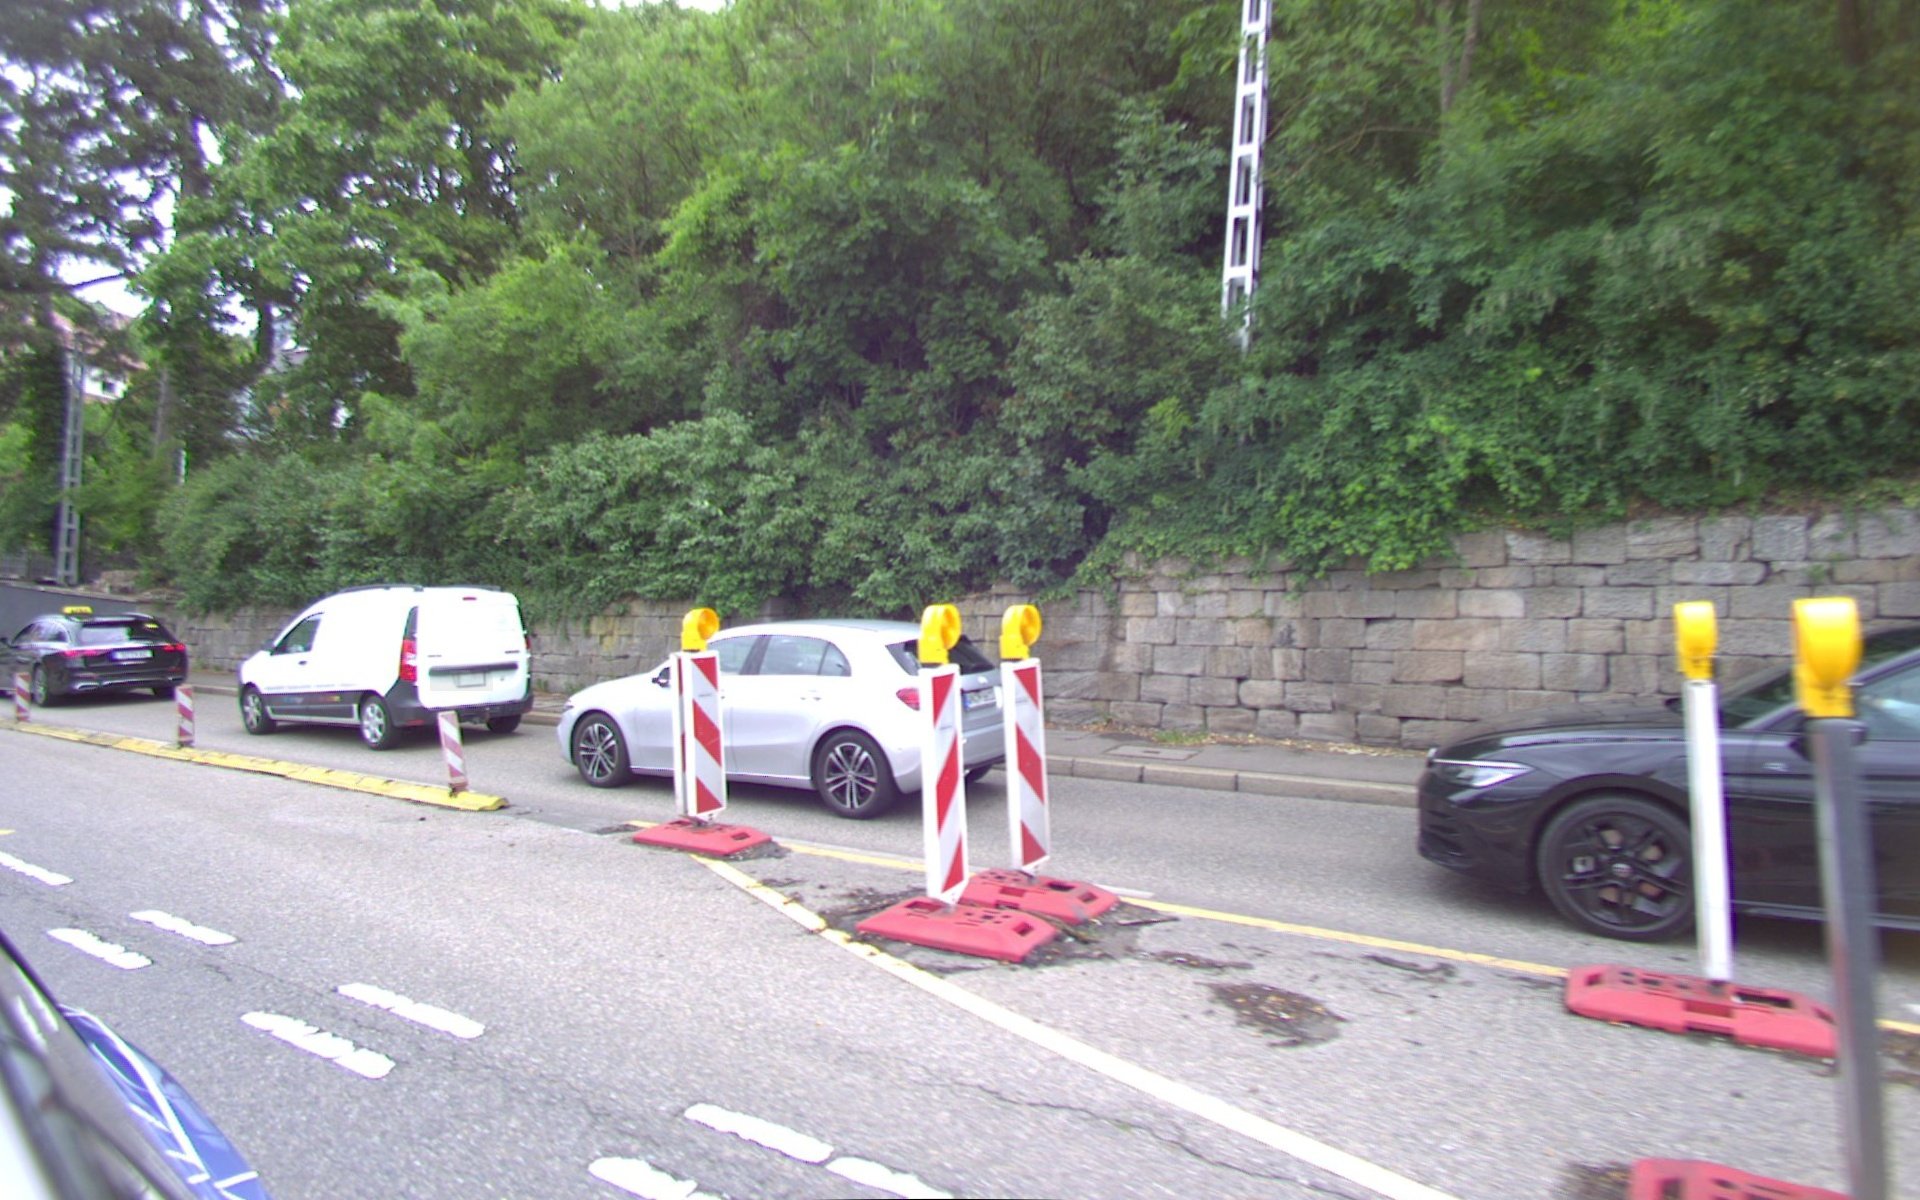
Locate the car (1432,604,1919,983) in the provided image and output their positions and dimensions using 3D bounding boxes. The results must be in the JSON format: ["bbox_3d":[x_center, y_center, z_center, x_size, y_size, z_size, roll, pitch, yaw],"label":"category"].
[{"bbox_3d":[4.729,0.754,4.359,4.730,1.452,1.757,0,0,32],"label":"car"}]

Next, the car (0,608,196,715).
[{"bbox_3d":[-15.291,0.959,17.498,4.639,1.604,1.817,0,0,32],"label":"car"}]

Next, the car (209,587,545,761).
[{"bbox_3d":[-7.235,0.775,12.449,4.328,1.804,1.789,0,0,33],"label":"car"}]

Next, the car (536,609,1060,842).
[{"bbox_3d":[-1.472,0.861,8.632,4.296,1.519,1.778,0,0,31],"label":"car"}]
